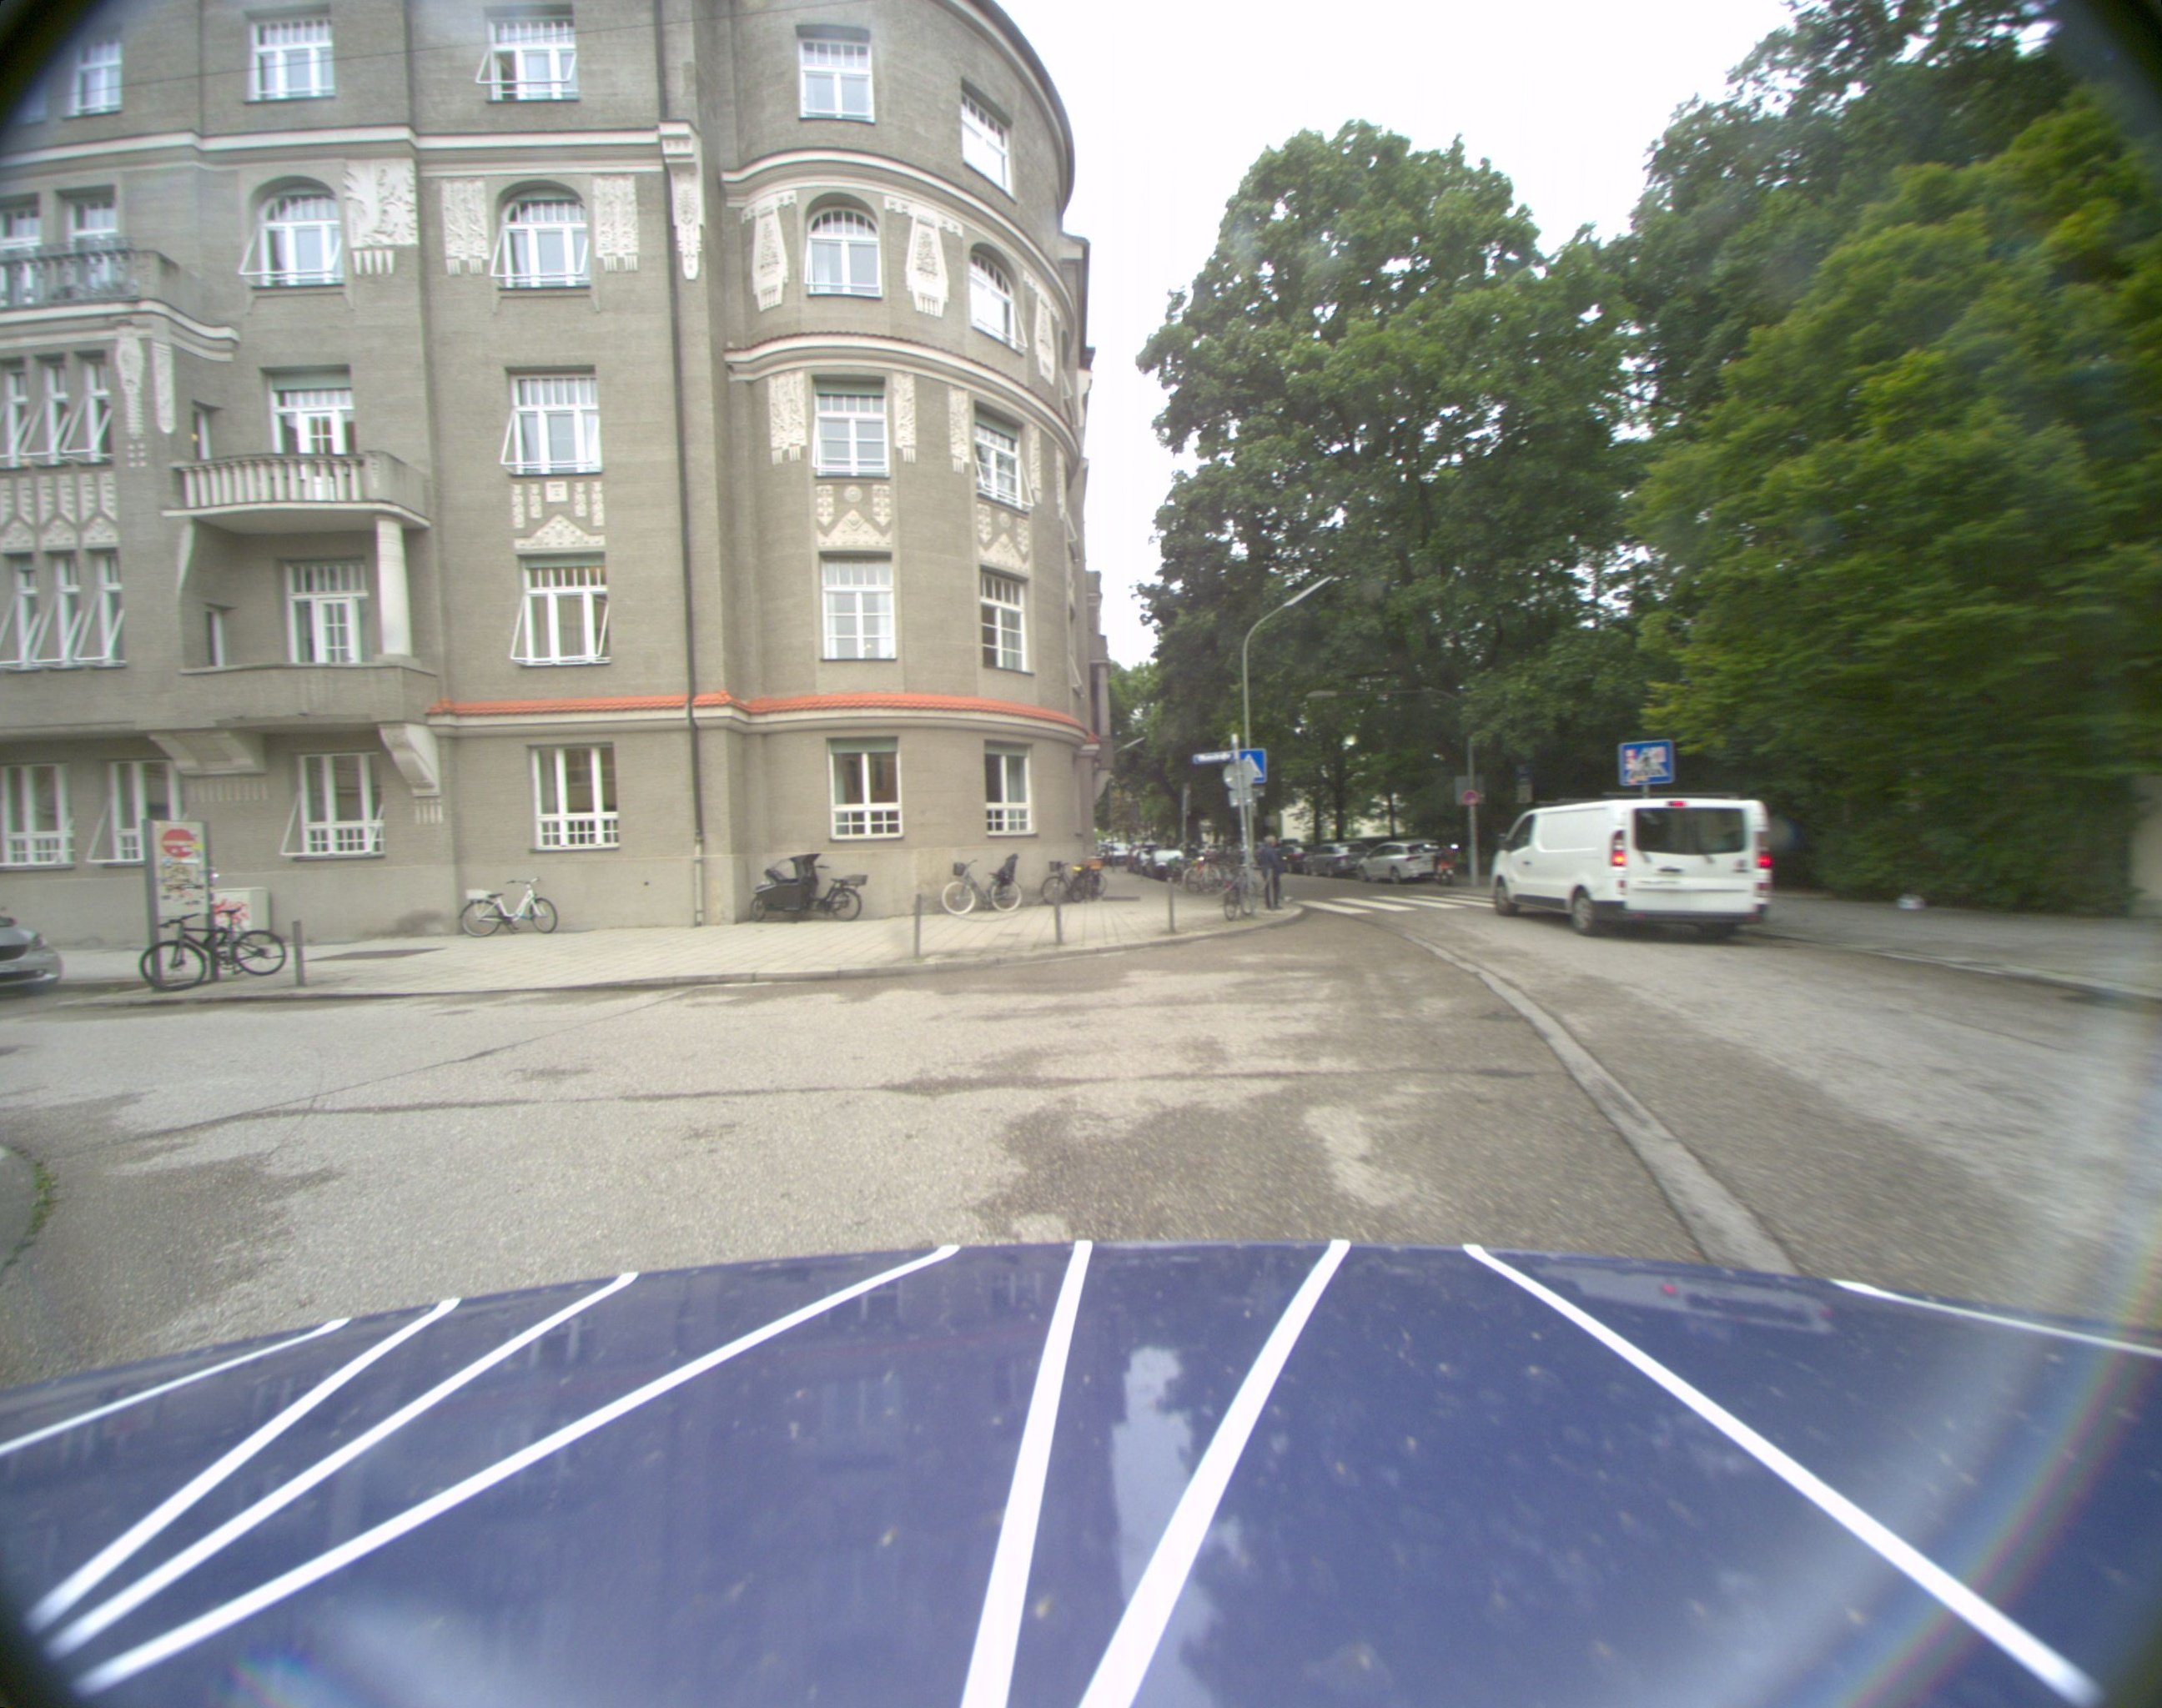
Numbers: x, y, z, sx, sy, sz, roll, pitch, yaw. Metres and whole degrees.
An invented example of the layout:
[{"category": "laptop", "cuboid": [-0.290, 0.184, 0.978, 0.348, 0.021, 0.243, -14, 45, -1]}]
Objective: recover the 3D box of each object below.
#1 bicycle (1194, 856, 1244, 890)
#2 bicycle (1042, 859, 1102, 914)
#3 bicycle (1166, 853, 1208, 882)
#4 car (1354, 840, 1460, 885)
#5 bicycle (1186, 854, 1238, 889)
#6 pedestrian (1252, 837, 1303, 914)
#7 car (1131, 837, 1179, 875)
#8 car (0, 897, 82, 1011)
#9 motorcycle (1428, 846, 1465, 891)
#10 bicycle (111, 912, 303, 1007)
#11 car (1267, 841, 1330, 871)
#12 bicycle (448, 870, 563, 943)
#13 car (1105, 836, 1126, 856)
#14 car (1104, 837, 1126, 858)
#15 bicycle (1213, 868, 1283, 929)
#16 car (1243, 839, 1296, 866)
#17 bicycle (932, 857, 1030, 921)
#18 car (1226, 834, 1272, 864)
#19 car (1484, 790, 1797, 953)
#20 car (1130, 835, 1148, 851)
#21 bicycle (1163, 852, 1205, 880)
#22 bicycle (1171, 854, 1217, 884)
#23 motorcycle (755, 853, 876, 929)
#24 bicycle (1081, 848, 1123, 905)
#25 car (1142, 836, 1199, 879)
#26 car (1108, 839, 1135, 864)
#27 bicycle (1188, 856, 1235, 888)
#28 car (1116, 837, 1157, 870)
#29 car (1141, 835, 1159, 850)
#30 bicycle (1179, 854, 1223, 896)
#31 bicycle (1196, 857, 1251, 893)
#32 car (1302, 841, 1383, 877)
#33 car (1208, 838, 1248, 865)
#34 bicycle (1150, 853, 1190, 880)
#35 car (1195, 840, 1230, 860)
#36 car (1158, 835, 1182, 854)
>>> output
[{"category": "bicycle", "cuboid": [4.920, 0.672, 27.006, 1.681, 1.141, 0.512, -1, 2, 16]}, {"category": "bicycle", "cuboid": [-0.193, 0.735, 18.151, 0.563, 1.151, 1.929, 3, 3, 28]}, {"category": "bicycle", "cuboid": [4.448, 0.568, 31.971, 1.681, 1.141, 0.512, -1, 2, 16]}, {"category": "car", "cuboid": [11.478, 0.242, 27.079, 1.624, 1.440, 4.433, -1, 1, -4]}, {"category": "bicycle", "cuboid": [4.427, 0.603, 25.664, 1.681, 1.141, 0.466, -1, 2, 16]}, {"category": "pedestrian", "cuboid": [4.311, 0.452, 16.725, 0.727, 1.632, 0.811, -2, 2, -19]}, {"category": "car", "cuboid": [4.028, 0.040, 42.149, 1.999, 1.941, 4.658, -2, 2, -3]}, {"category": "car", "cuboid": [-16.243, 1.430, 10.391, 2.908, 1.506, 1.710, -2, 0, 2]}, {"category": "motorcycle", "cuboid": [10.840, 0.424, 22.567, 0.857, 1.177, 2.009, -5, 0, 25]}, {"category": "bicycle", "cuboid": [-12.188, 1.425, 10.694, 0.540, 1.009, 1.807, -2, 2, 0]}, {"category": "car", "cuboid": [11.244, 0.084, 39.592, 1.776, 1.424, 4.514, -2, 1, -3]}, {"category": "bicycle", "cuboid": [-11.347, 1.021, 15.021, 1.674, 1.342, 0.620, -2, 2, -4]}, {"category": "car", "cuboid": [3.623, -0.854, 80.332, 1.998, 1.941, 4.660, -2, 2, 1]}, {"category": "car", "cuboid": [3.229, -0.653, 72.892, 1.998, 1.941, 4.660, -2, 2, 1]}, {"category": "bicycle", "cuboid": [3.258, 0.816, 14.698, 0.510, 1.004, 2.012, 0, 2, 37]}, {"category": "car", "cuboid": [11.004, -0.106, 44.728, 1.776, 1.424, 4.514, -2, 1, -3]}, {"category": "bicycle", "cuboid": [-2.148, 0.729, 16.456, 1.929, 1.249, 0.736, -3, 2, -30]}, {"category": "car", "cuboid": [10.985, -0.337, 49.918, 1.776, 1.808, 4.514, -2, 1, -3]}, {"category": "car", "cuboid": [8.321, 0.178, 12.037, 2.043, 2.030, 4.961, 0, 1, 11]}, {"category": "car", "cuboid": [7.441, -1.411, 97.969, 1.998, 1.941, 4.660, -2, 2, 1]}, {"category": "bicycle", "cuboid": [4.453, 0.522, 32.864, 1.681, 1.141, 0.512, -1, 2, 16]}, {"category": "bicycle", "cuboid": [4.374, 0.578, 29.480, 1.681, 1.141, 0.512, -1, 2, 16]}, {"category": "motorcycle", "cuboid": [-5.369, 0.739, 15.466, 2.145, 1.433, 0.738, -2, 2, -1]}, {"category": "bicycle", "cuboid": [0.589, 0.566, 20.363, 0.737, 1.405, 1.928, -1, 2, 13]}, {"category": "car", "cuboid": [4.283, 0.099, 37.094, 1.999, 1.941, 4.658, -2, 2, -3]}, {"category": "car", "cuboid": [3.383, -0.246, 63.963, 1.998, 1.941, 4.660, -2, 2, 1]}, {"category": "bicycle", "cuboid": [4.867, 0.659, 28.310, 1.681, 1.141, 0.512, -1, 2, 16]}, {"category": "car", "cuboid": [3.497, -0.080, 48.469, 1.999, 1.941, 4.658, -2, 2, -3]}, {"category": "car", "cuboid": [9.449, -1.631, 104.377, 1.998, 1.941, 4.660, -2, 2, 1]}, {"category": "bicycle", "cuboid": [3.578, 0.606, 22.567, 0.510, 1.141, 1.687, 0, 2, 37]}, {"category": "bicycle", "cuboid": [4.691, 0.700, 24.937, 1.705, 1.141, 0.512, -1, 2, 16]}, {"category": "car", "cuboid": [11.449, 0.167, 33.615, 1.776, 1.424, 4.514, -2, 1, -3]}, {"category": "car", "cuboid": [10.663, -0.192, 55.334, 1.776, 1.825, 4.514, -2, 1, -3]}, {"category": "bicycle", "cuboid": [4.008, 0.568, 34.108, 1.681, 1.141, 0.512, -1, 2, 16]}, {"category": "car", "cuboid": [10.438, -0.344, 60.612, 1.776, 1.424, 4.514, -2, 1, -3]}, {"category": "car", "cuboid": [9.540, -1.056, 81.706, 1.998, 1.941, 4.660, -2, 2, 1]}]
